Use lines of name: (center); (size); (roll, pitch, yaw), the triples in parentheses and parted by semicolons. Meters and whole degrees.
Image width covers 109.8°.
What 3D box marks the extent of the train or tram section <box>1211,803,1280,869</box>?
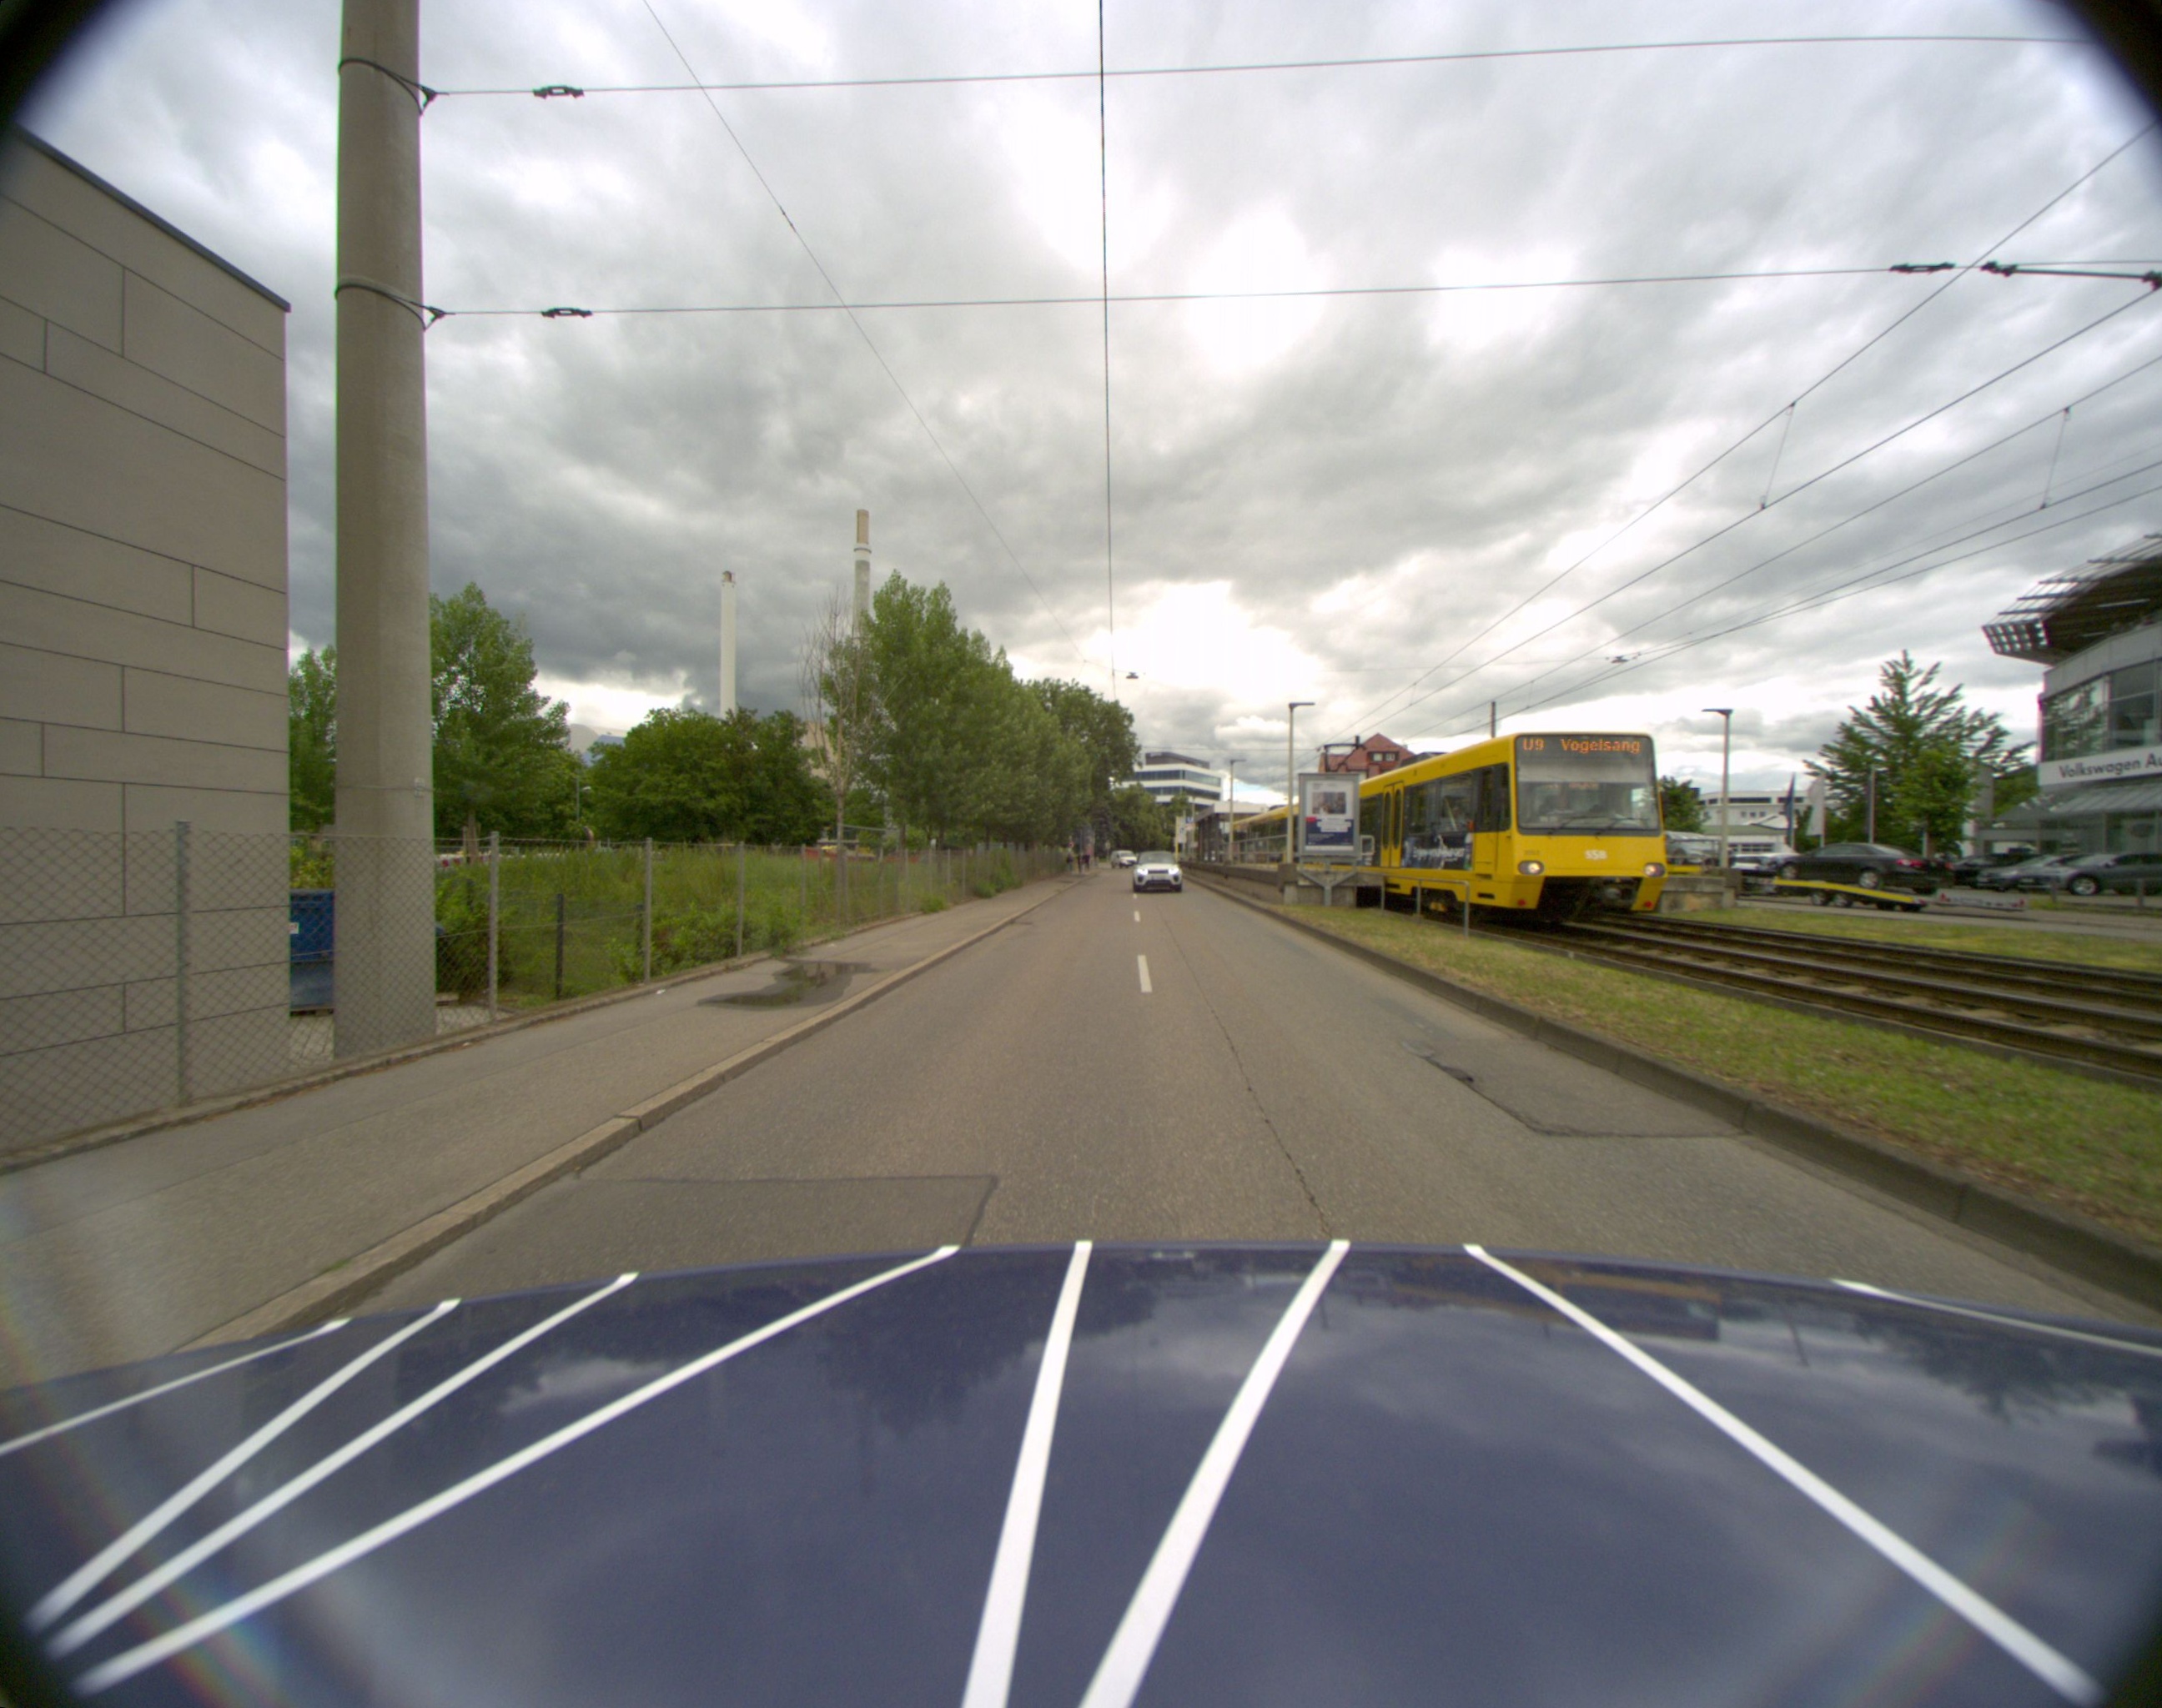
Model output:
train or tram section: (10.745, -1.002, 50.897); (2.747, 3.943, 11.916); (0, -1, 4)

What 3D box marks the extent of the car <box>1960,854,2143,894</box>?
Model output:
car: (37.581, 0.749, 29.578); (3.990, 1.477, 1.799); (0, 1, 24)

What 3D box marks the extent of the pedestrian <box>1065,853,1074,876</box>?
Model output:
pedestrian: (-0.844, 0.763, 57.358); (0.604, 1.681, 0.671); (0, 4, 5)

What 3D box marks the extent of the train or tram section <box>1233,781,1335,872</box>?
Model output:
train or tram section: (10.002, -1.139, 38.973); (2.747, 3.943, 11.916); (0, -1, 4)

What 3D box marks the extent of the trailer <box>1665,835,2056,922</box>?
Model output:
trailer: (24.553, 0.639, 25.193); (2.861, 2.307, 10.023); (0, 0, 2)

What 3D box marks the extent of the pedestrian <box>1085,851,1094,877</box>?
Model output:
pedestrian: (0.652, 0.734, 56.422); (0.604, 1.858, 0.671); (0, 4, 5)

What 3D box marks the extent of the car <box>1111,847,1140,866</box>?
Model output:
car: (4.691, 0.255, 80.052); (2.041, 2.007, 4.535); (0, 0, -10)

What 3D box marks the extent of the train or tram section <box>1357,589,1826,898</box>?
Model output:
train or tram section: (8.540, -1.394, 15.092); (2.978, 4.041, 10.200); (0, -1, 3)

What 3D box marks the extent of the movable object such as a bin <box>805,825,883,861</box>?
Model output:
movable object such as a bin: (-14.403, -0.724, 46.385); (1.994, 2.003, 4.301); (2, 4, 28)

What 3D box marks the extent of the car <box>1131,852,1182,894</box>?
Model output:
car: (3.136, 0.727, 31.083); (1.915, 1.560, 4.115); (0, 0, 7)

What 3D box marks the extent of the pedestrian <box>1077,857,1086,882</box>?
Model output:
pedestrian: (0.057, 1.177, 57.218); (0.604, 1.857, 0.672); (0, 1, 5)

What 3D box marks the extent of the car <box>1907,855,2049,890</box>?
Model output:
car: (40.178, 0.784, 34.197); (3.988, 1.477, 1.800); (0, 1, 45)

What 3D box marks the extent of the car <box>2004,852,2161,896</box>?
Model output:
car: (36.233, 0.670, 26.986); (3.990, 1.477, 1.799); (0, 1, 24)

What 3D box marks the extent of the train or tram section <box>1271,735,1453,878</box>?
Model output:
train or tram section: (9.266, -1.257, 27.022); (2.747, 3.943, 11.916); (0, -1, 4)

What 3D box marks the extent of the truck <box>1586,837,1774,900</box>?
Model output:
truck: (24.687, 0.532, 31.832); (2.835, 2.383, 6.454); (0, 0, 1)
